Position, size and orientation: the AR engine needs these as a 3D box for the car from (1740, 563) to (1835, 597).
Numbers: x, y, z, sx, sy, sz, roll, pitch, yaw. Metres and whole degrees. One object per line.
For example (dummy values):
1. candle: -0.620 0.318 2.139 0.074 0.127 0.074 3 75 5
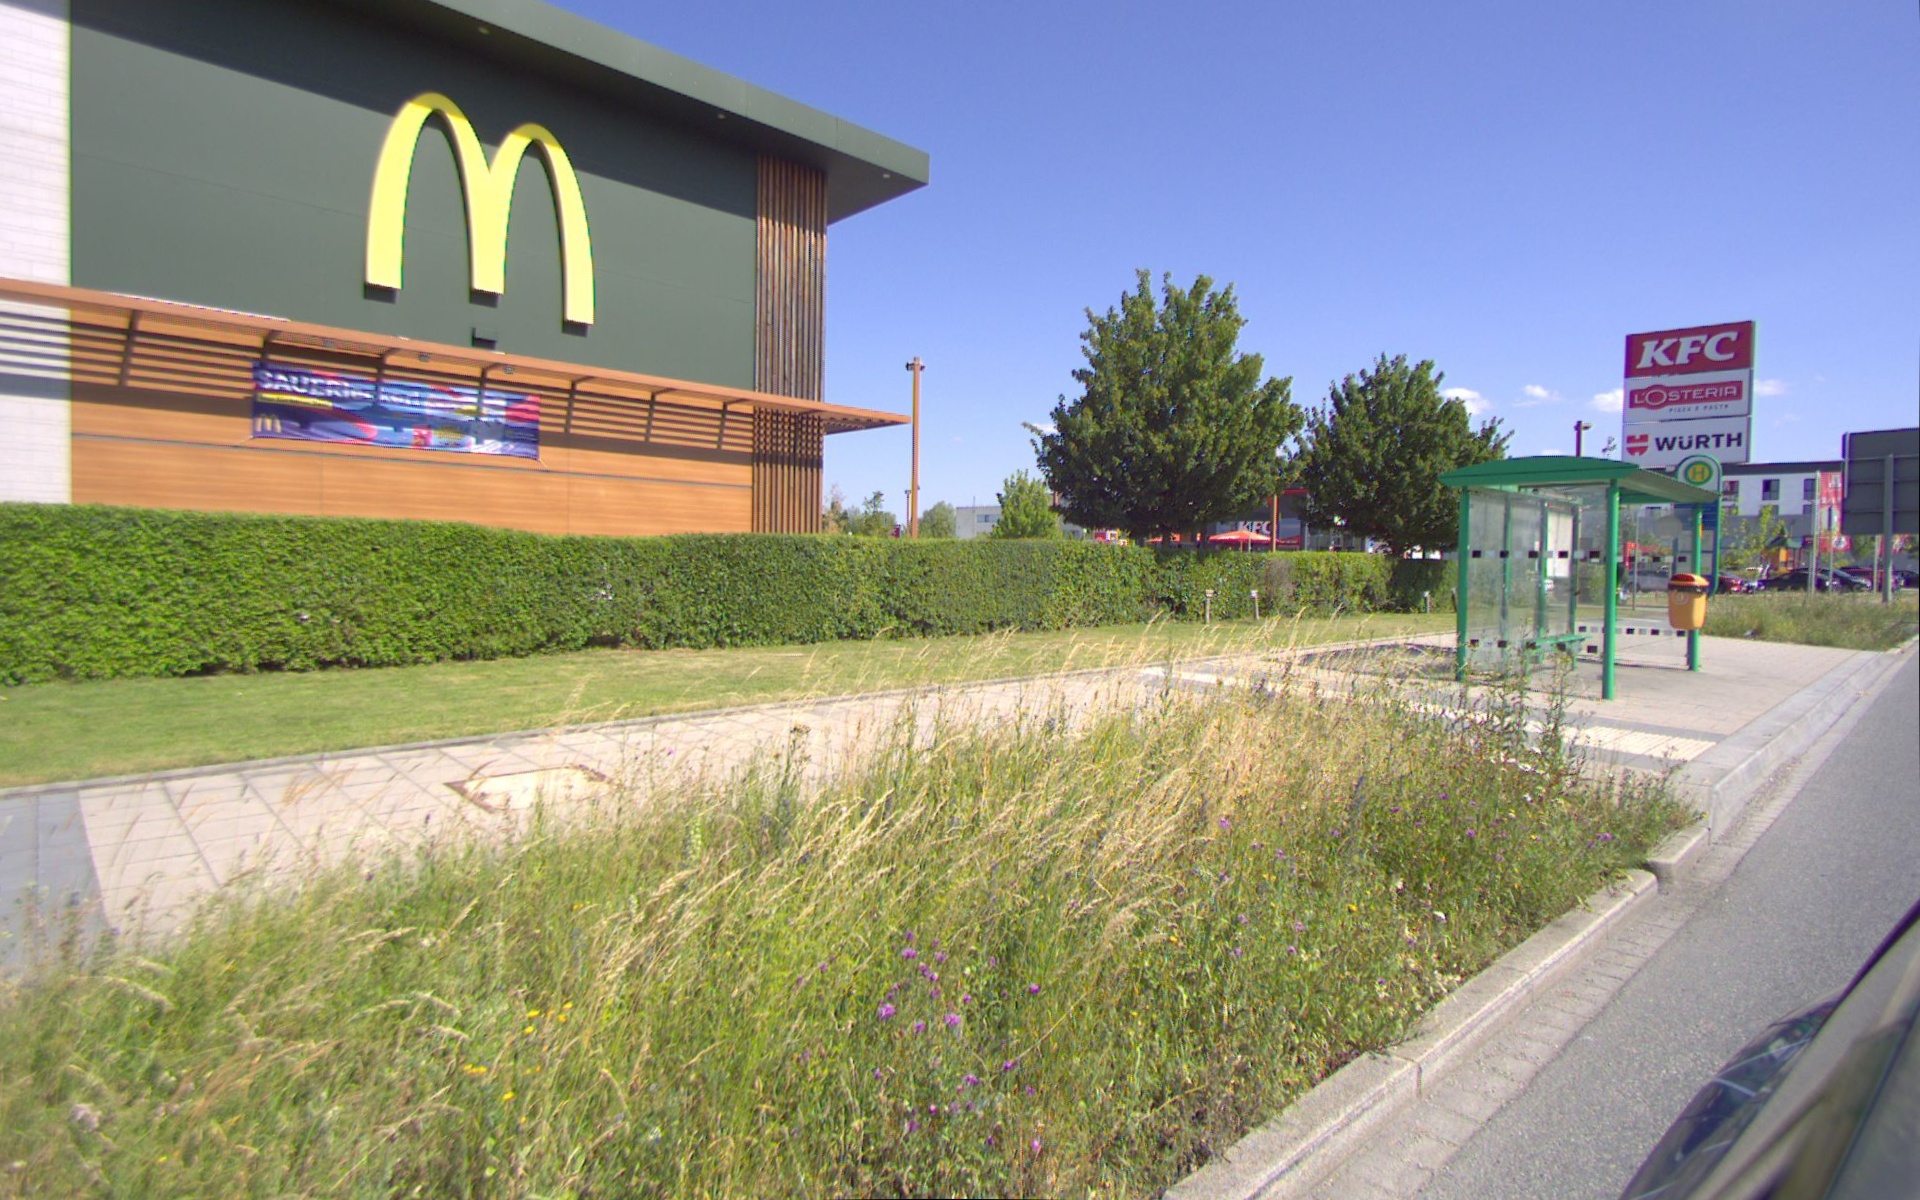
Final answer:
1. car: 51.974 -1.266 63.614 1.894 2.038 4.194 0 2 -28

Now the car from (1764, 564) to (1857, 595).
1. car: 54.432 -1.339 64.847 1.766 1.880 4.196 0 2 -25

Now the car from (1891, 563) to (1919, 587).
1. car: 67.791 -1.724 70.554 1.721 1.639 3.830 0 2 -29

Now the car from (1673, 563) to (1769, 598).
1. car: 45.787 -1.216 61.010 1.894 2.038 4.194 0 2 -28

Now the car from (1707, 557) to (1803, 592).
1. car: 48.720 -1.589 62.136 1.894 2.038 4.193 0 2 -29

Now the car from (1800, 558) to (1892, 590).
1. car: 58.704 -1.746 67.128 1.895 2.038 4.192 0 2 -30

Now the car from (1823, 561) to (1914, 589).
1. car: 61.455 -1.698 68.525 1.786 1.783 4.195 0 2 -25

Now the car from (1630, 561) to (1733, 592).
1. car: 41.784 -1.369 58.687 1.897 1.673 4.444 0 2 -36
